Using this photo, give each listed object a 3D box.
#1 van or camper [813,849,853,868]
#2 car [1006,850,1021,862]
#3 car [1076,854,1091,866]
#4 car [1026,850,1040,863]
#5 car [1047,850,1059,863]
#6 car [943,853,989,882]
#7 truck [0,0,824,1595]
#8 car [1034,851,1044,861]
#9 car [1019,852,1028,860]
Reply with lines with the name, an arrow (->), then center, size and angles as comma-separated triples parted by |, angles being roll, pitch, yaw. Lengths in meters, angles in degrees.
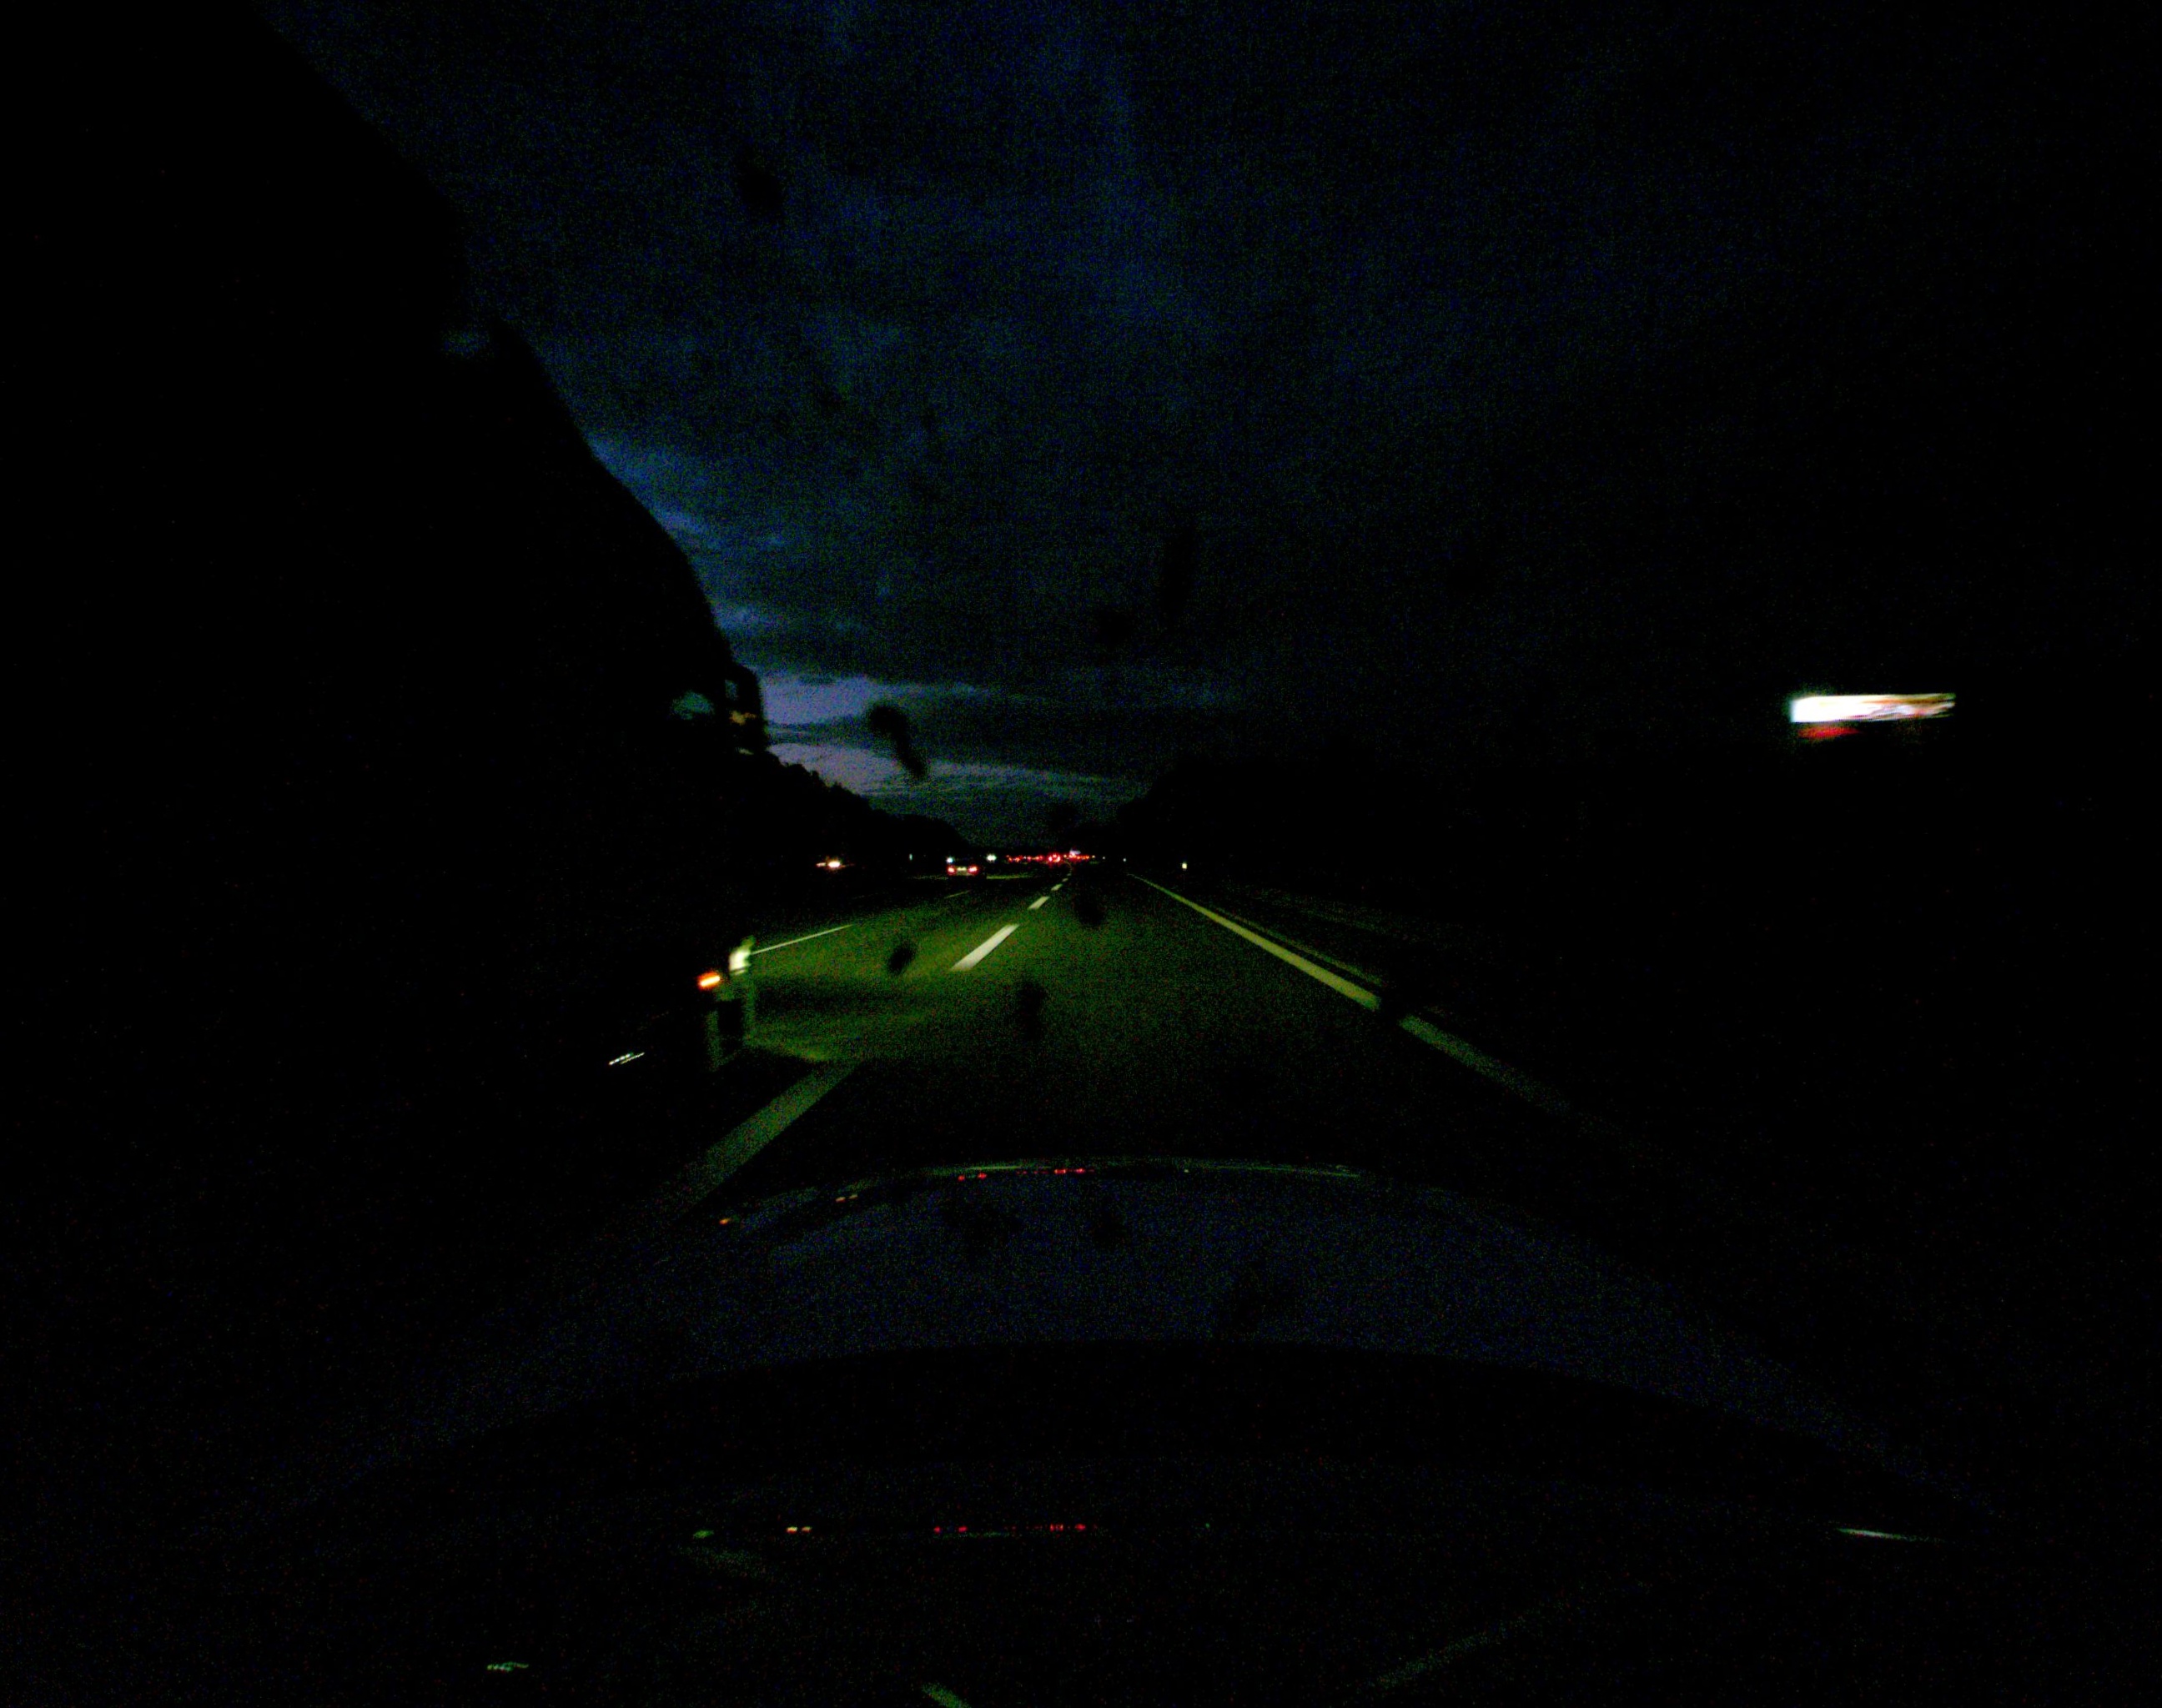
van or camper -> -26.807, 0.480, 88.308 | 2.370, 2.014, 6.490 | -1, 0, -1
car -> -11.443, 0.317, 138.330 | 2.096, 2.013, 4.002 | -2, 0, 2
car -> 0.361, 0.870, 120.730 | 1.988, 1.659, 4.312 | -1, 0, -1
car -> -7.705, 0.389, 130.341 | 2.065, 2.013, 3.999 | -1, 0, -1
car -> -4.616, 0.396, 133.905 | 1.988, 2.013, 3.997 | 0, 0, -2
car -> -6.906, 0.791, 49.243 | 1.986, 1.642, 4.556 | -1, 0, 2
truck -> -3.600, -0.390, 3.534 | 2.768, 3.902, 6.157 | -1, 0, 2
car -> -8.871, 0.492, 171.135 | 1.989, 2.014, 3.995 | -1, 0, -3
car -> -15.110, 0.485, 212.492 | 1.988, 2.013, 3.998 | 3, 0, -1
